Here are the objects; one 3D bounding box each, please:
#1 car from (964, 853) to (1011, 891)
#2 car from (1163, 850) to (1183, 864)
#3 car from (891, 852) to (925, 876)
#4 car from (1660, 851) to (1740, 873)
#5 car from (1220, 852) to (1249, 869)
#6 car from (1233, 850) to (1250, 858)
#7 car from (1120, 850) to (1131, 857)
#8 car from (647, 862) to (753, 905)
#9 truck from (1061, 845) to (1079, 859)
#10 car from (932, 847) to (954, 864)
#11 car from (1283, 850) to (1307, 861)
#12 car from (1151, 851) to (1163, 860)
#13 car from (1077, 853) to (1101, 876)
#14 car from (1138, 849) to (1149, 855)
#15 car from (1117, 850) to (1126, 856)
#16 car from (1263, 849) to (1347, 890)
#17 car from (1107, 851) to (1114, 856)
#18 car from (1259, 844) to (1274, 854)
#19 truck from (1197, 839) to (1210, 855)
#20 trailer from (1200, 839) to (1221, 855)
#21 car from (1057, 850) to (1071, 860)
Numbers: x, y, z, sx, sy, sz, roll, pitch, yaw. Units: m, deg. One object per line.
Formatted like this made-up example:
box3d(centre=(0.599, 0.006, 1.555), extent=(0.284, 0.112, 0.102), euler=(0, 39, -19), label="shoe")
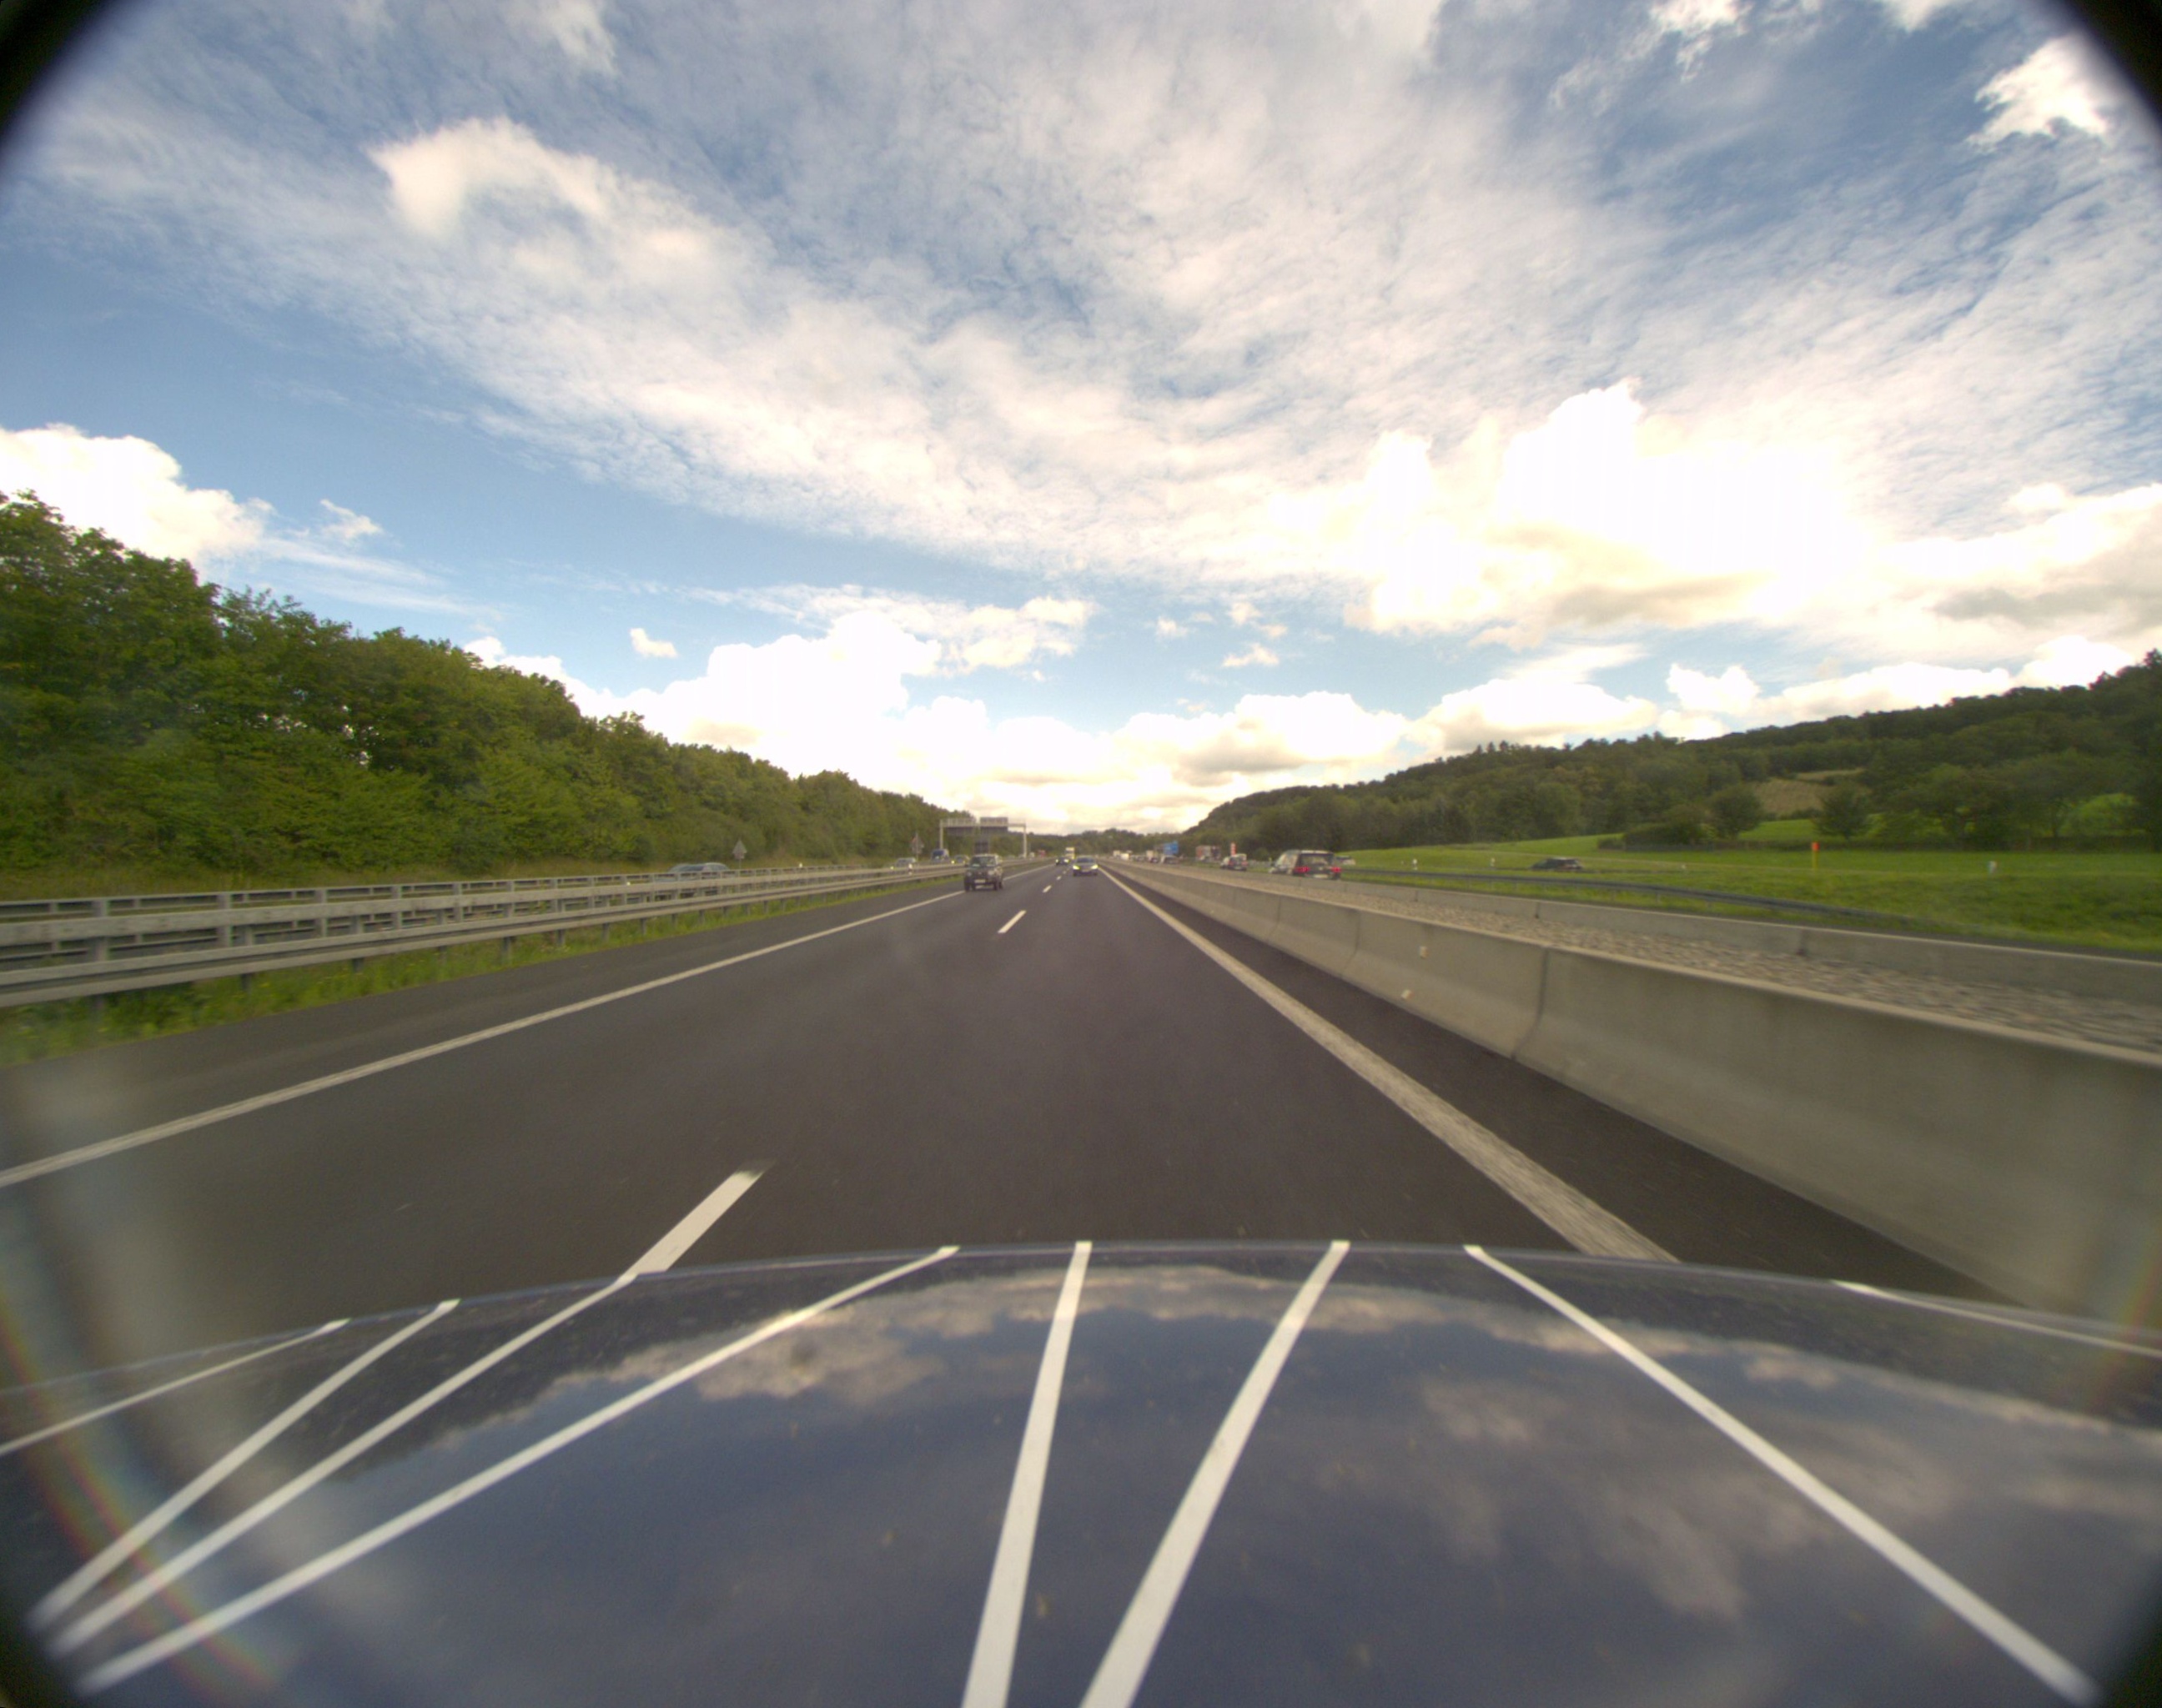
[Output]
box3d(centre=(-4.568, 0.837, 37.602), extent=(1.670, 1.722, 4.207), euler=(-1, 1, 2), label="car")
box3d(centre=(9.659, 0.341, 79.639), extent=(1.646, 1.390, 3.741), euler=(0, 1, 0), label="car")
box3d(centre=(-15.021, 0.866, 66.068), extent=(1.998, 2.002, 4.000), euler=(0, 1, 1), label="car")
box3d(centre=(46.615, 0.565, 57.370), extent=(1.777, 1.539, 4.887), euler=(0, 1, -5), label="car")
box3d(centre=(13.432, 0.532, 66.541), extent=(1.732, 1.390, 4.157), euler=(0, 1, 0), label="car")
box3d(centre=(30.445, -0.041, 144.286), extent=(1.777, 1.539, 4.887), euler=(0, 1, -5), label="car")
box3d(centre=(9.667, -0.144, 164.084), extent=(1.998, 1.523, 5.747), euler=(0, 1, 0), label="car")
box3d(centre=(-14.873, 1.095, 29.928), extent=(1.999, 1.476, 4.310), euler=(-1, 1, -1), label="car")
box3d(centre=(-3.466, -0.740, 238.759), extent=(4.947, 4.306, 14.629), euler=(0, 1, 2), label="truck")
box3d(centre=(-18.766, 0.176, 103.342), extent=(1.999, 2.173, 5.127), euler=(-1, 1, -1), label="car")
box3d(centre=(32.068, 0.188, 113.849), extent=(1.777, 1.539, 4.887), euler=(0, 1, -5), label="car")
box3d(centre=(13.685, 0.259, 137.286), extent=(1.758, 1.394, 4.690), euler=(0, 1, 0), label="car")
box3d(centre=(0.666, 0.770, 58.491), extent=(1.724, 1.722, 3.939), euler=(-1, 1, 2), label="car")
box3d(centre=(14.424, -0.449, 175.108), extent=(1.998, 1.523, 4.506), euler=(0, 1, 0), label="car")
box3d(centre=(9.824, -0.204, 185.877), extent=(1.998, 1.523, 5.020), euler=(0, 1, 0), label="car")
box3d(centre=(8.331, 0.522, 28.700), extent=(1.792, 1.390, 4.724), euler=(0, 1, 0), label="car")
box3d(centre=(9.736, -0.043, 250.843), extent=(1.932, 1.608, 5.418), euler=(0, 1, 1), label="car")
box3d(centre=(37.526, -1.105, 153.880), extent=(1.999, 2.002, 3.998), euler=(0, 1, -3), label="car")
box3d(centre=(30.252, -1.724, 188.060), extent=(1.999, 3.740, 5.147), euler=(0, 1, -4), label="truck")
box3d(centre=(30.746, -1.645, 180.685), extent=(1.999, 3.715, 13.238), euler=(0, 1, -4), label="trailer")
box3d(centre=(-2.818, 0.159, 125.967), extent=(1.998, 1.591, 4.000), euler=(0, 1, 2), label="car")
